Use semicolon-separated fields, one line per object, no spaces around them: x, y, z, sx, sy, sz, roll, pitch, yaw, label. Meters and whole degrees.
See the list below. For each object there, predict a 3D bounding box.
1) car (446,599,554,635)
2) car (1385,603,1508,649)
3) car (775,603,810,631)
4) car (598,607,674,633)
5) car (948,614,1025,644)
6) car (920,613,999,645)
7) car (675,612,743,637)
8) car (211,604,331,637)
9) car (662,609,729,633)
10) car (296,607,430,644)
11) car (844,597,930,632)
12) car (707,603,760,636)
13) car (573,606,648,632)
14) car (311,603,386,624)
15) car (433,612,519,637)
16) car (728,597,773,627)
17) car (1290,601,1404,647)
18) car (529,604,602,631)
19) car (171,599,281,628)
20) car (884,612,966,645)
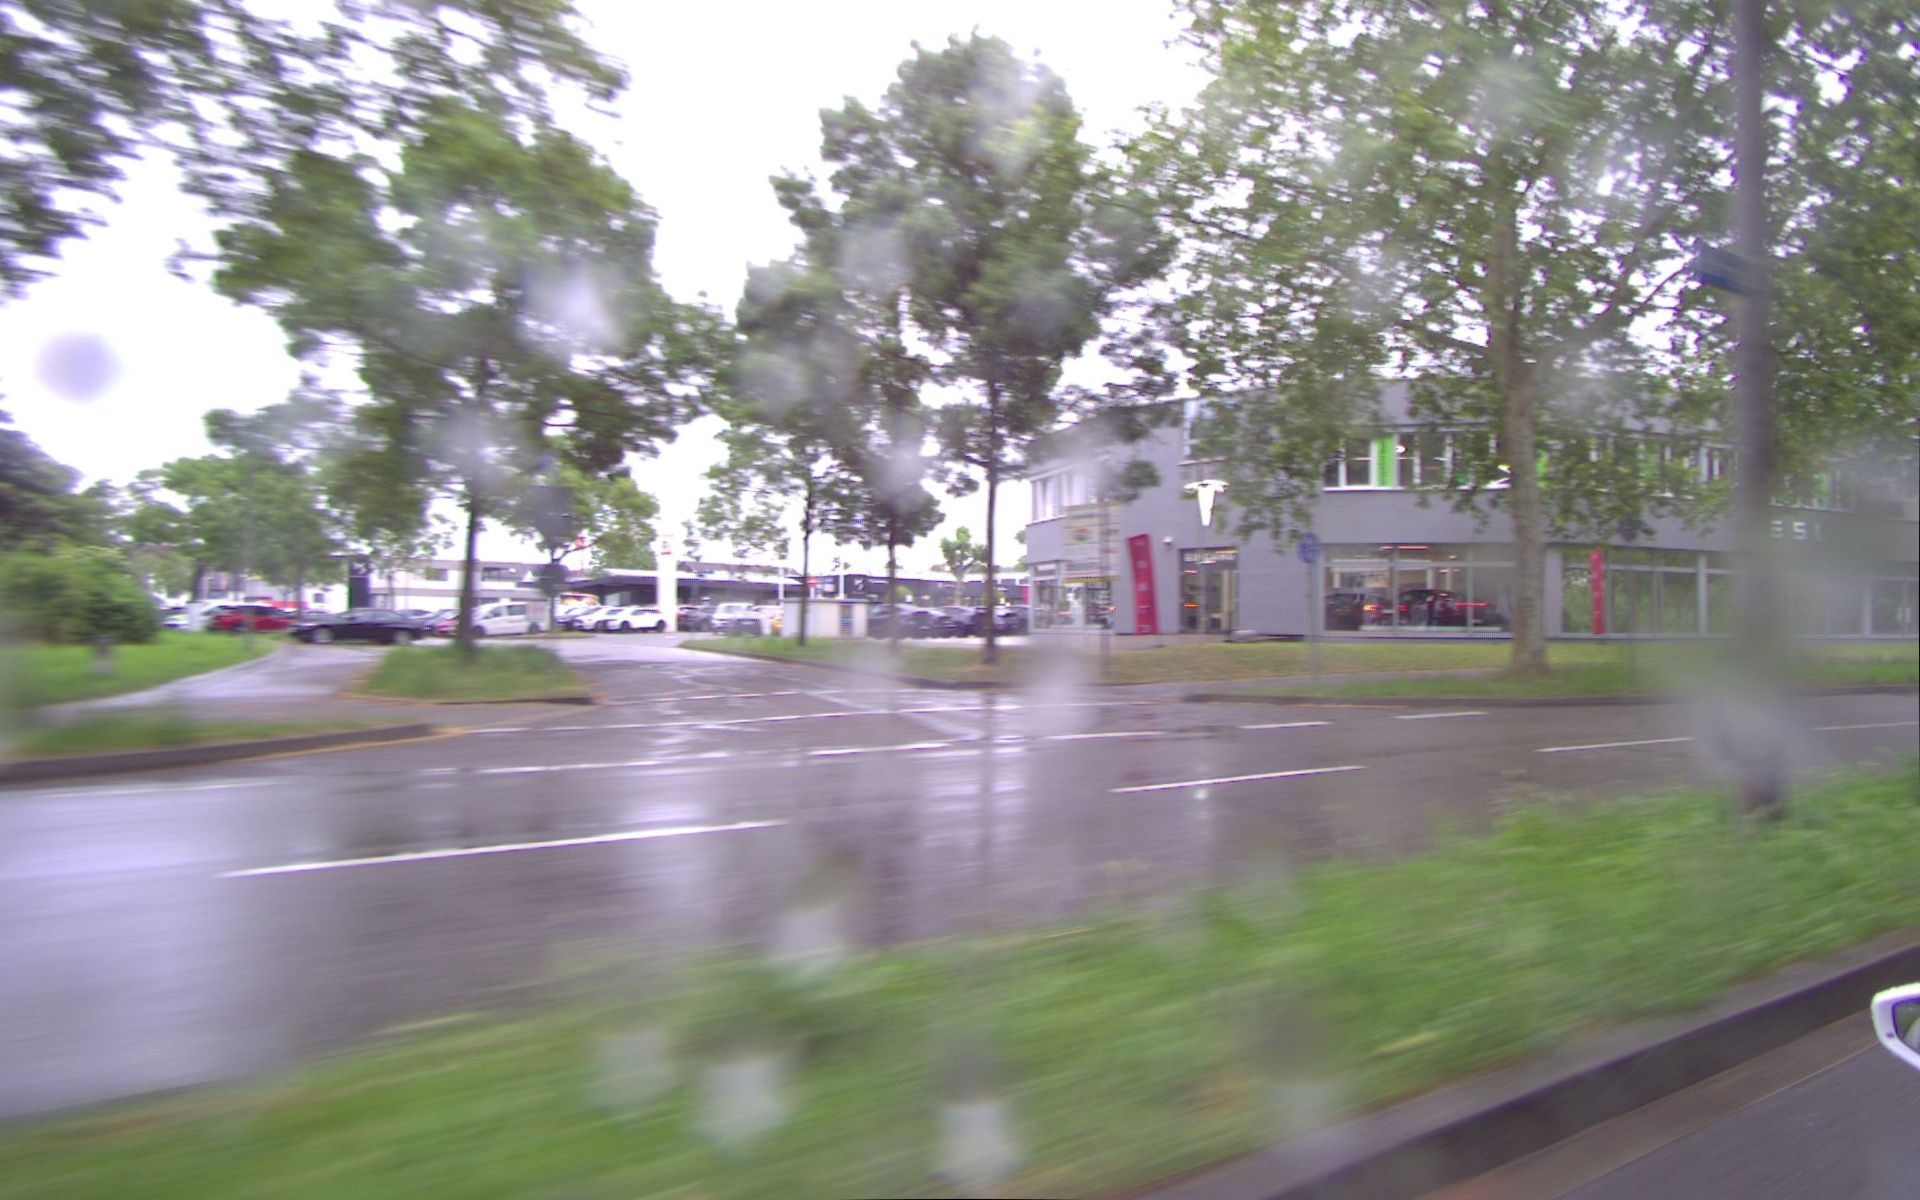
-25.461;0.939;55.788;1.766;1.889;5.207;0;-1;39;car
17.038;0.886;35.401;1.571;1.514;4.192;1;-1;-15;car
-9.383;0.942;56.342;1.567;1.514;3.071;1;-1;-3;car
-19.451;1.207;60.402;1.573;1.514;4.187;0;-1;38;car
1.372;1.520;53.364;1.587;1.514;4.150;1;-1;-44;car
-0.066;1.433;50.502;1.587;1.514;4.150;1;-1;-44;car
-16.175;1.579;64.941;1.573;1.514;4.187;0;-1;38;car
-30.881;0.924;45.118;1.574;1.376;4.184;0;-1;40;car
-17.501;1.365;66.555;1.573;1.514;4.187;0;-1;38;car
-23.384;0.984;39.475;1.574;1.376;4.272;0;-1;40;car
-3.365;0.647;45.769;1.587;1.514;4.150;1;-1;-44;car
-13.229;1.151;58.832;1.781;1.838;4.207;1;-1;5;car
-21.466;1.188;61.862;1.573;1.514;4.187;0;-1;38;car
-42.560;0.937;69.960;1.574;1.376;4.184;0;-1;40;car
-27.799;1.399;57.808;1.574;1.376;4.184;0;-1;40;car
-11.350;0.647;54.640;1.849;1.514;4.202;1;-1;-5;car
13.488;0.815;35.272;1.571;1.514;4.192;1;-1;-15;car
-25.473;1.161;64.913;1.573;1.678;4.187;0;-1;38;car
-36.599;0.685;50.136;1.574;1.376;4.184;0;-1;40;car
-1.731;1.361;48.622;1.587;1.514;4.150;1;-1;-44;car
